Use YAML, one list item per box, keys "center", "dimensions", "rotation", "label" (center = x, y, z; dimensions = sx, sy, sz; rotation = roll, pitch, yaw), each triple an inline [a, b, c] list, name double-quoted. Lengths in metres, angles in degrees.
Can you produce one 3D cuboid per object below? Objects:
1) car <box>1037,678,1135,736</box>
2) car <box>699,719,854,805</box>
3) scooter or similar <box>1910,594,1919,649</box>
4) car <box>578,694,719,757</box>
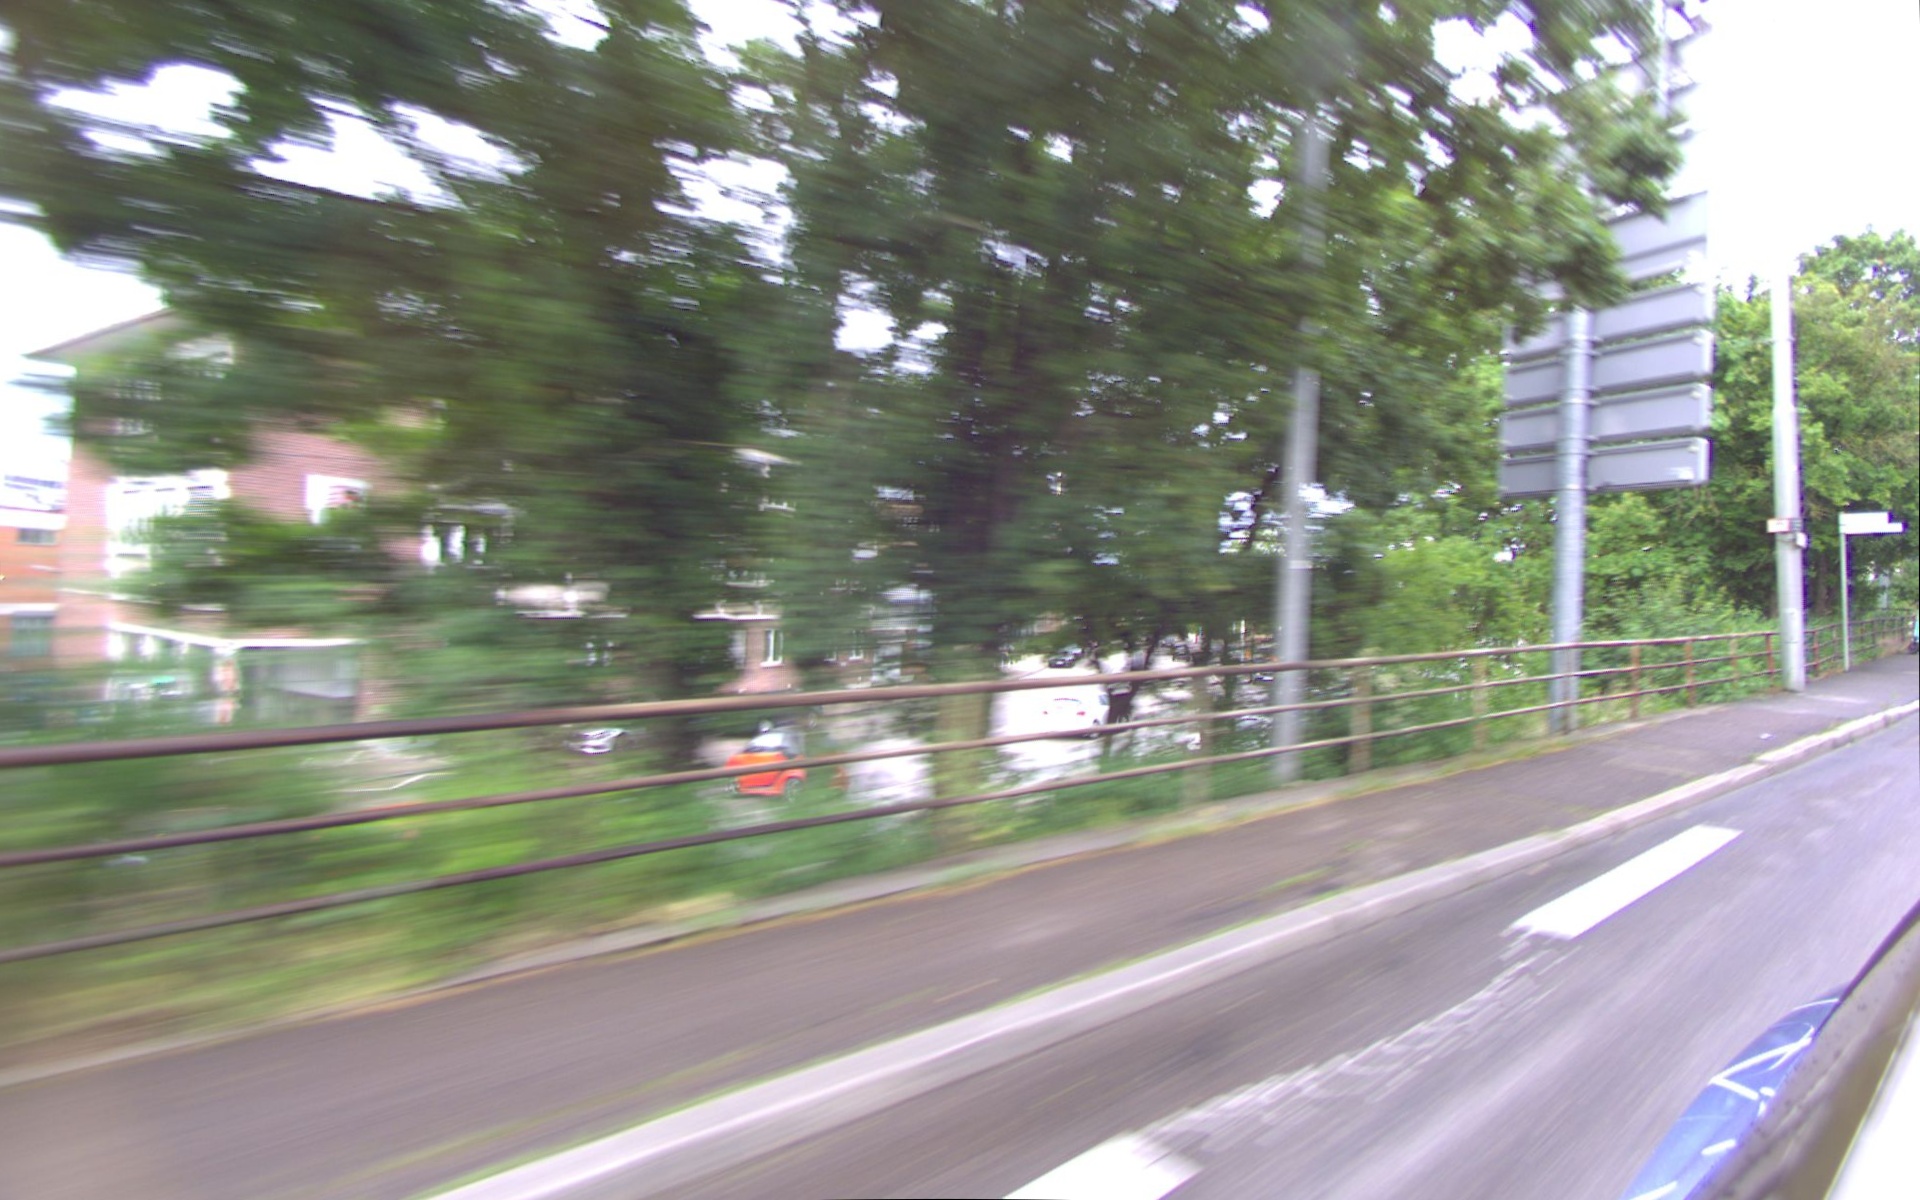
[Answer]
- center: [4.325, 3.554, 34.210]
  dimensions: [1.732, 1.442, 4.404]
  rotation: [0, 0, 30]
  label: "car"
- center: [-4.039, 3.464, 22.081]
  dimensions: [3.393, 1.416, 1.493]
  rotation: [-1, -2, 39]
  label: "car"
- center: [22.588, 0.496, 23.543]
  dimensions: [1.812, 1.248, 0.538]
  rotation: [0, 1, -41]
  label: "scooter or similar"
- center: [-9.401, 3.753, 30.789]
  dimensions: [1.656, 1.413, 3.952]
  rotation: [0, 0, 33]
  label: "car"
